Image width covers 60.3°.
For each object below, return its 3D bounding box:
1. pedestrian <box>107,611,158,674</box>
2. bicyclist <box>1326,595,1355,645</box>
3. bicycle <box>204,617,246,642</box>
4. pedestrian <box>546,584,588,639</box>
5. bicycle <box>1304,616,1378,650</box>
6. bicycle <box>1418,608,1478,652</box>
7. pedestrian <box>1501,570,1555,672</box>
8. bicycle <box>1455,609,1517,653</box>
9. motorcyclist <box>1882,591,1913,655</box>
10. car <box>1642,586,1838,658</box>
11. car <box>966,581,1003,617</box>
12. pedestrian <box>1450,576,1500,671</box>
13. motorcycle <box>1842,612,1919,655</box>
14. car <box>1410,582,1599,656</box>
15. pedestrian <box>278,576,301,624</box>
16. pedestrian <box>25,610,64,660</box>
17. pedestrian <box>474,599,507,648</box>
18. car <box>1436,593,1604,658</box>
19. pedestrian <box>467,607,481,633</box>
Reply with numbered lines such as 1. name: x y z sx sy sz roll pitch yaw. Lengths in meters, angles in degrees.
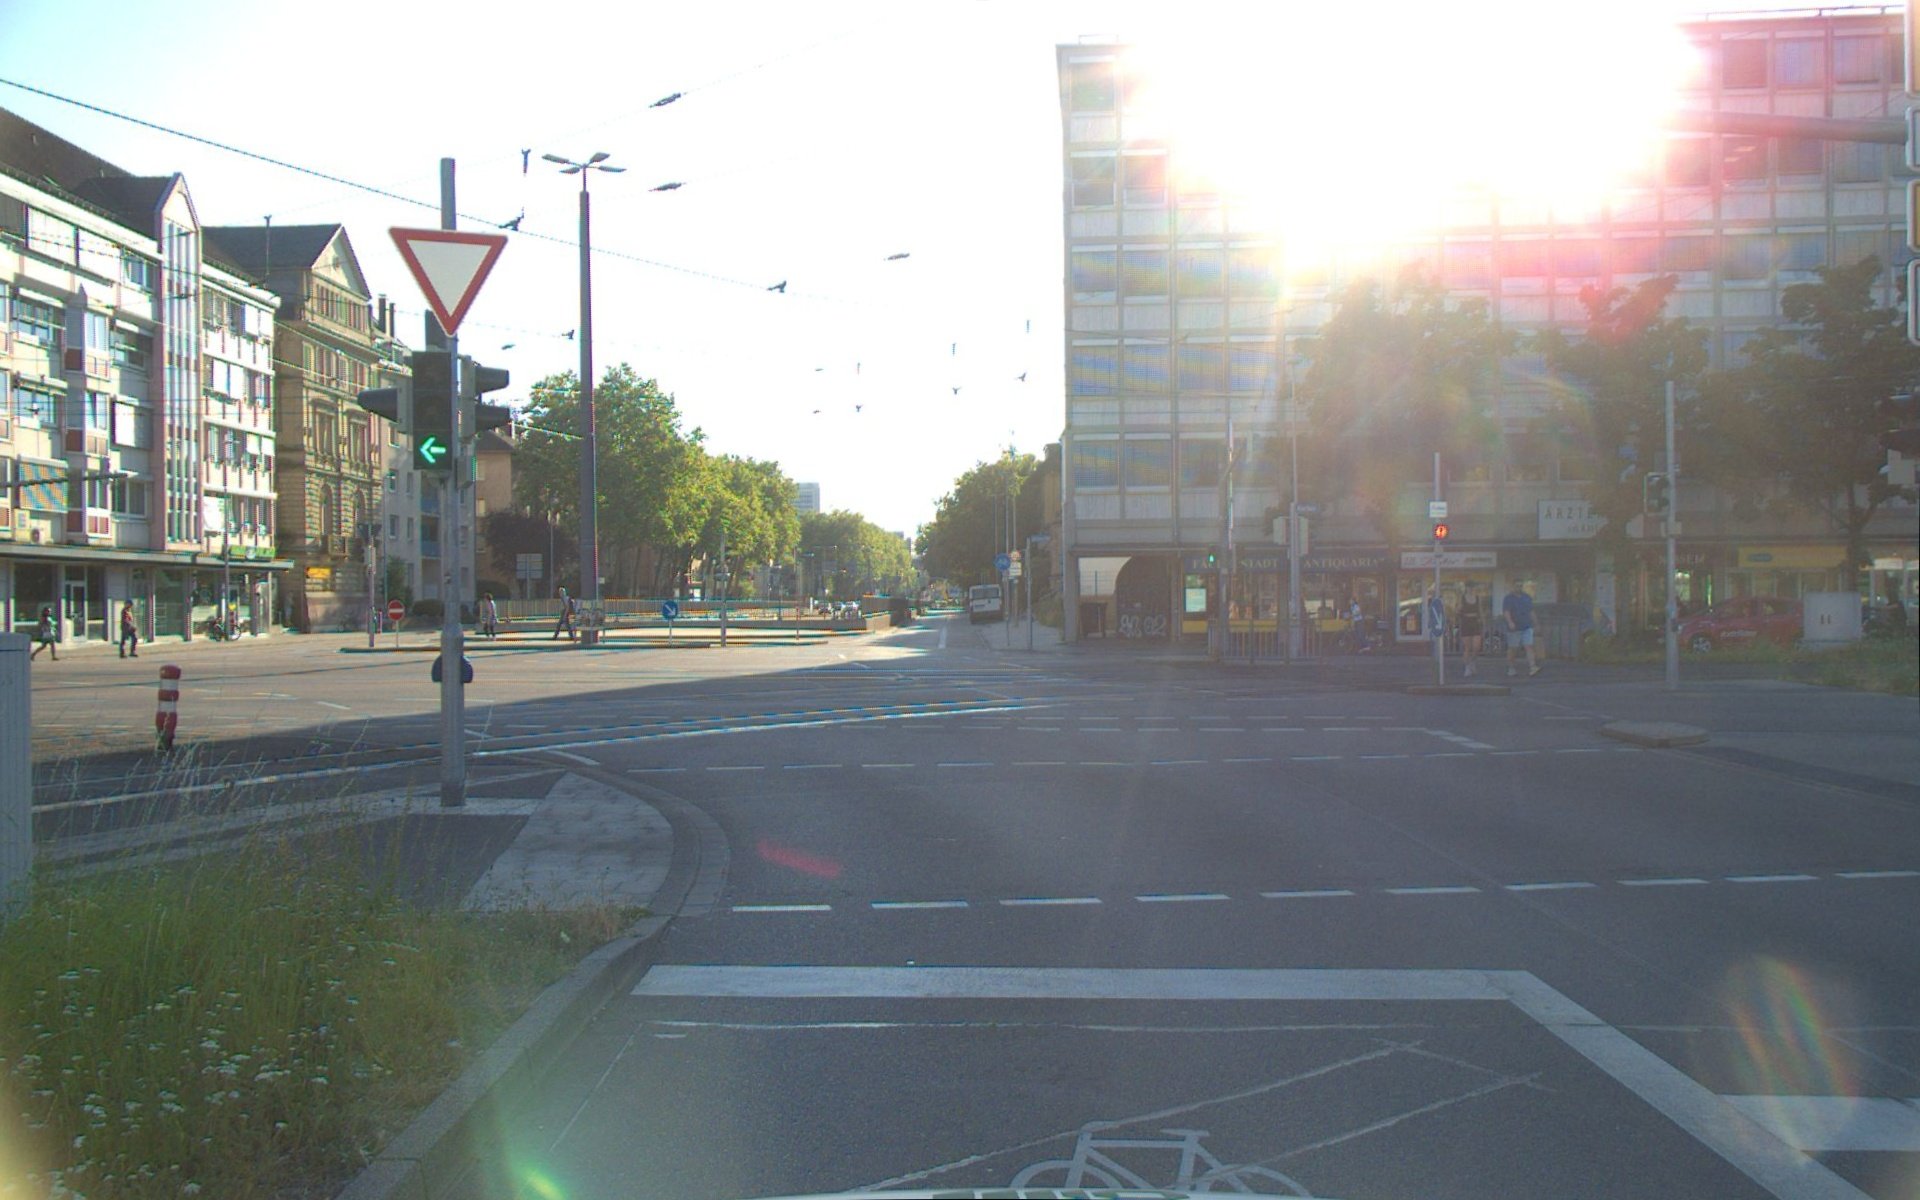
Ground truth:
1. pedestrian: -26.227 1.343 52.432 1.171 1.915 0.856 1 5 -5
2. bicyclist: 11.132 0.585 48.382 0.665 1.449 0.671 1 -1 -2
3. bicycle: -32.435 1.293 73.020 0.441 1.089 2.093 1 0 16
4. pedestrian: -12.816 0.361 53.967 1.171 1.761 0.855 1 -1 -5
5. bicycle: 11.146 0.958 48.384 1.983 0.957 0.671 1 0 -2
6. bicycle: 14.589 0.886 49.540 0.735 1.163 2.638 1 2 -6
7. pedestrian: 10.352 0.375 30.175 0.680 1.824 1.042 1 0 5
8. bicycle: 15.760 0.915 49.604 0.735 1.163 2.638 1 2 -6
9. motorcyclist: 22.747 0.563 40.127 0.451 1.535 0.535 1 -1 4
10. car: 18.912 0.532 40.248 3.903 1.646 1.845 1 0 4
11. car: 1.565 -0.044 103.931 2.238 2.210 4.834 1 0 1
12. pedestrian: 9.493 0.429 30.506 0.680 1.712 1.043 1 0 6
13. motorcycle: 22.874 0.824 40.114 2.606 1.019 0.535 1 -1 4
14. car: 12.861 0.452 39.234 3.903 1.646 1.845 1 0 4
15. pedestrian: -34.481 0.010 85.081 0.910 2.440 0.958 1 -1 -11
16. pedestrian: -27.265 1.040 49.268 0.691 1.479 0.855 1 0 -5
17. pedestrian: -14.612 0.738 51.467 0.844 1.491 0.679 1 -6 -30
18. car: 15.129 0.684 44.834 3.982 1.646 1.845 1 0 4
19. pedestrian: -31.862 1.317 108.453 0.681 1.725 0.724 1 -1 -1
